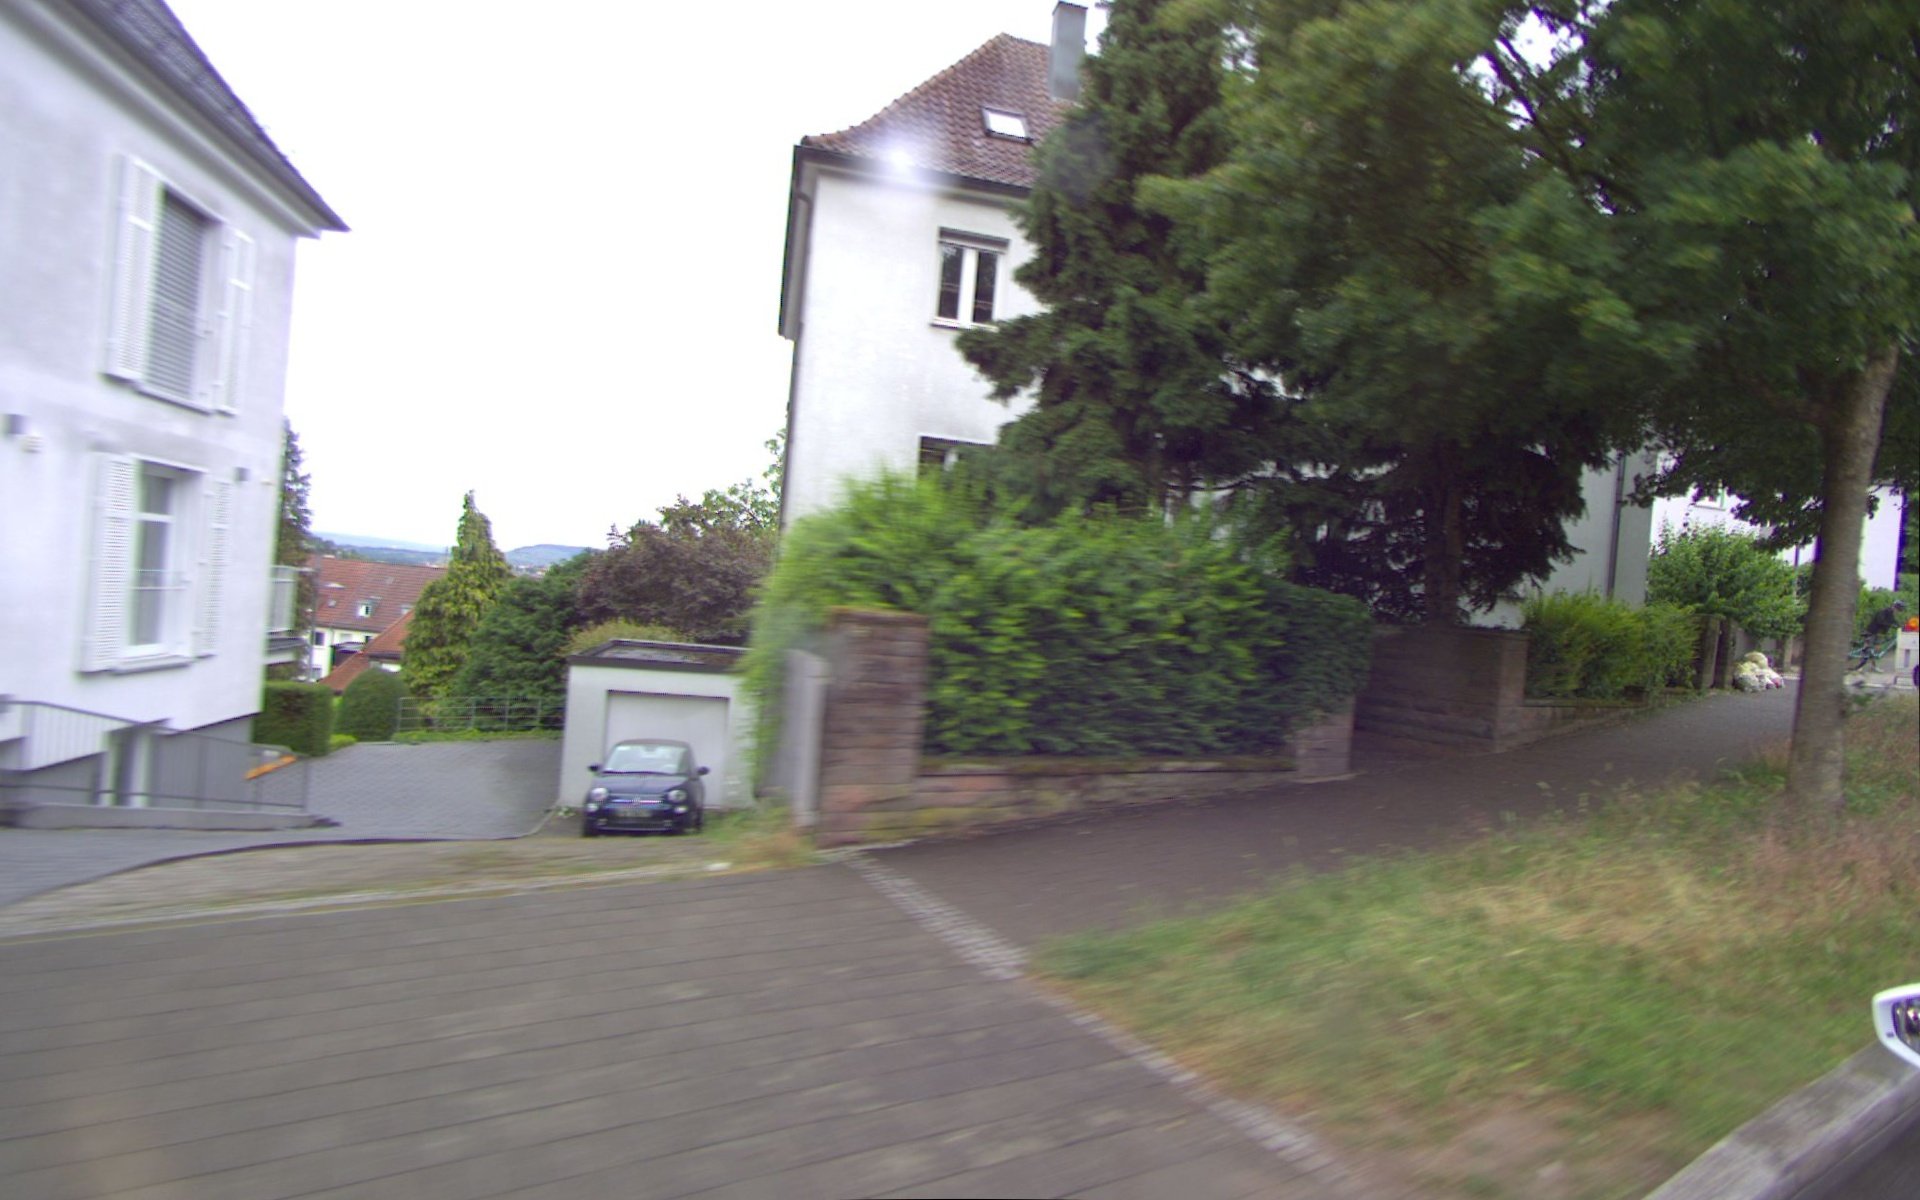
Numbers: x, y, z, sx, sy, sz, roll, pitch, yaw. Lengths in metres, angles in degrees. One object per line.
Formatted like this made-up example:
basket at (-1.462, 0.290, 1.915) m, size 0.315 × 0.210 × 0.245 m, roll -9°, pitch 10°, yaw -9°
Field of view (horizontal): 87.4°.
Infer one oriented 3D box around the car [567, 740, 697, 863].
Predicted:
car at (-5.057, 3.068, 15.885) m, size 1.614 × 1.460 × 3.492 m, roll 2°, pitch -4°, yaw -13°

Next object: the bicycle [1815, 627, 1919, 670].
bicycle at (23.318, 1.235, 25.717) m, size 0.631 × 1.016 × 2.127 m, roll 3°, pitch -2°, yaw -41°

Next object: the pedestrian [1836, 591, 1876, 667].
pedestrian at (23.509, 0.765, 26.353) m, size 0.462 × 1.970 × 0.725 m, roll 3°, pitch -2°, yaw -42°

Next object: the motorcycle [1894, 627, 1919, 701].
motorcycle at (17.295, 1.141, 16.611) m, size 0.882 × 1.250 × 2.577 m, roll 2°, pitch 0°, yaw -39°
